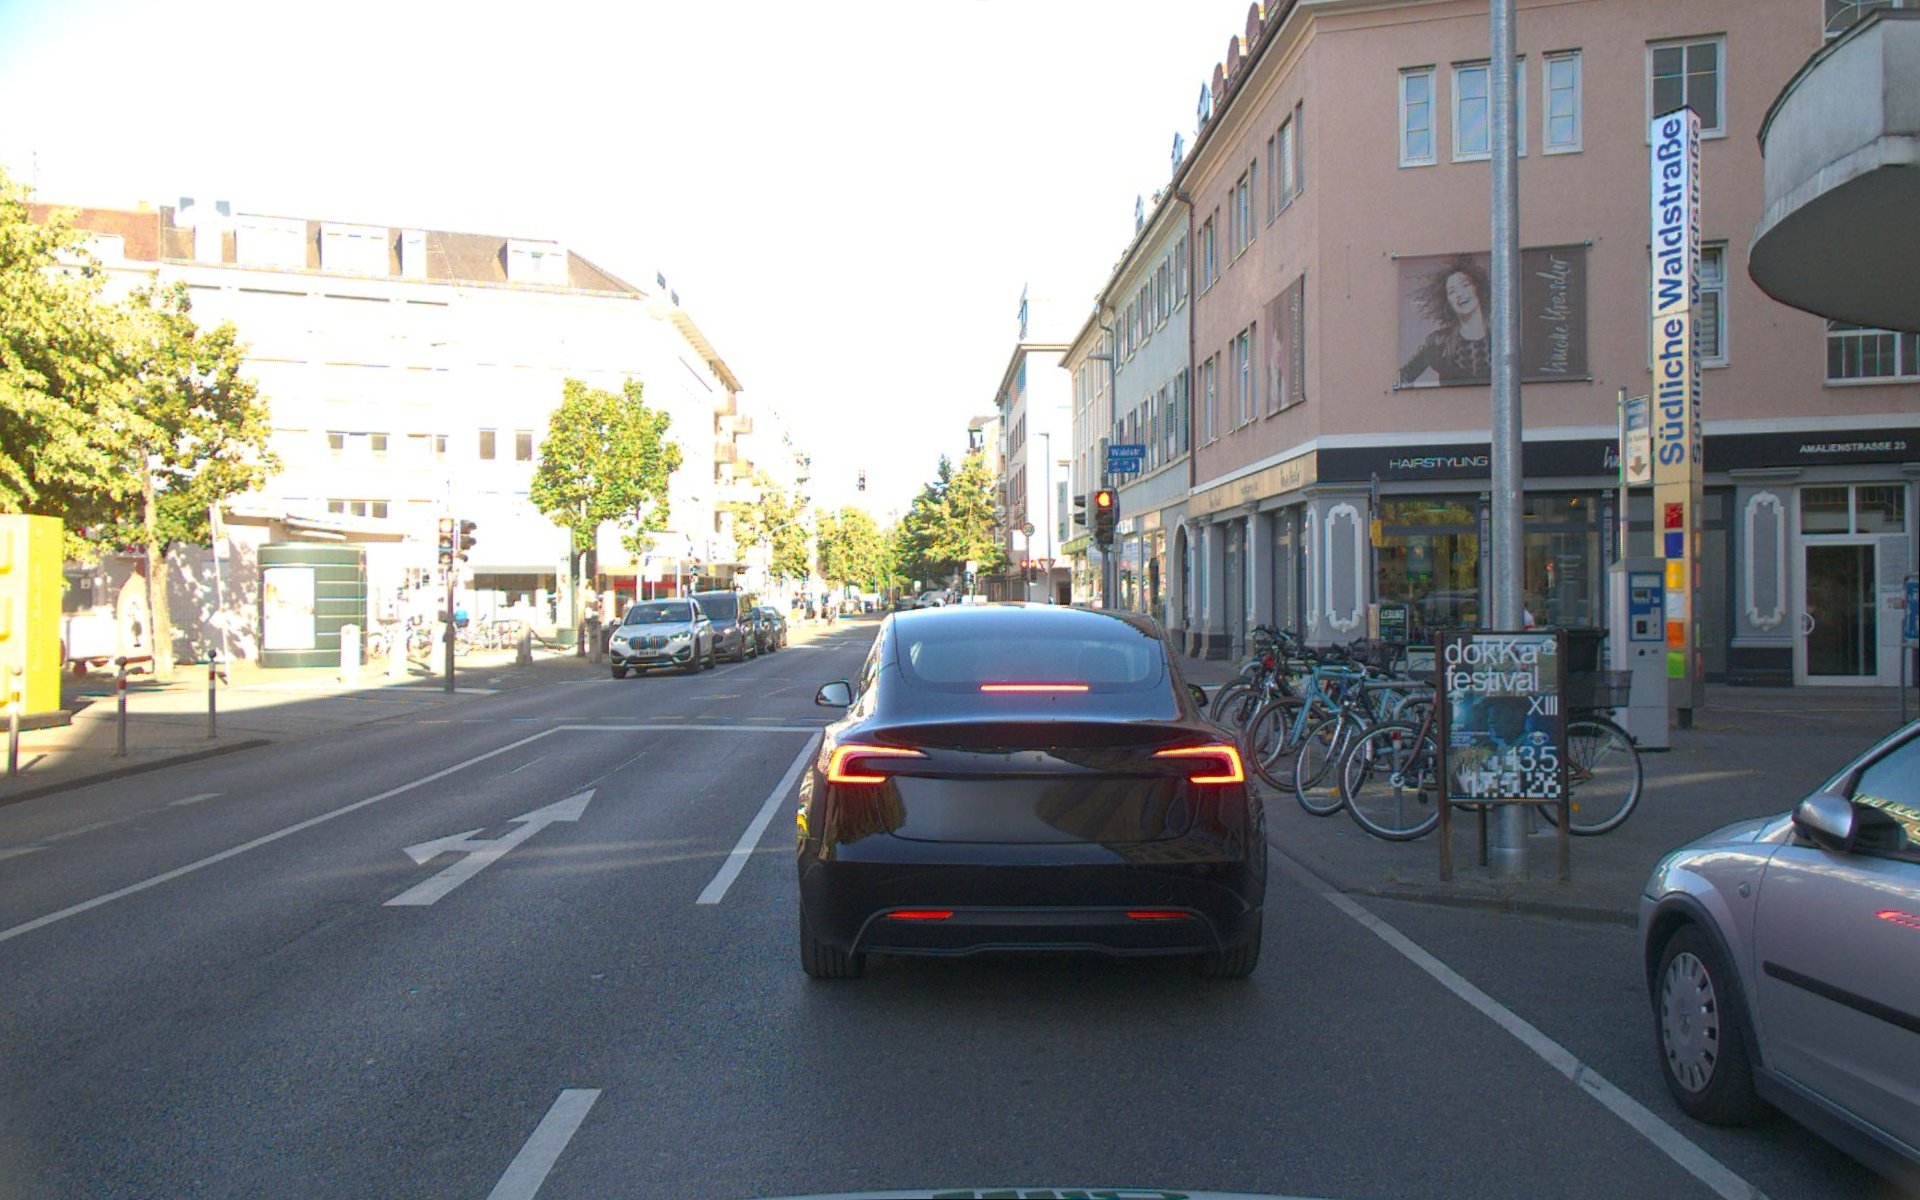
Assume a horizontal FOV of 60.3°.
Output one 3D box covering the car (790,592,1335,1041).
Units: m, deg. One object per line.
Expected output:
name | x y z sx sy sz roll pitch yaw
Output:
car | 0.315 0.721 7.491 1.810 1.480 3.999 0 0 -1

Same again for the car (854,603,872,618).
car | -10.982 1.204 186.887 1.954 1.666 3.997 0 0 -4

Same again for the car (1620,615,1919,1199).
car | 2.932 0.775 3.512 1.580 1.406 3.642 1 0 0

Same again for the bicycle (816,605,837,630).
bicycle | -7.697 0.993 95.396 1.089 1.368 3.997 0 0 -4

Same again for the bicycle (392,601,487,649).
bicycle | -14.711 0.693 46.806 2.429 1.347 0.921 0 0 -6

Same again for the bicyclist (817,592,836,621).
bicyclist | -7.713 0.366 95.489 1.104 1.657 0.964 0 0 -4

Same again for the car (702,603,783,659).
car | -6.421 0.880 49.319 1.954 1.434 4.671 -4 0 -3

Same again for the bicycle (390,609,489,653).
bicycle | -14.103 0.838 44.883 2.412 1.176 0.842 0 0 -2

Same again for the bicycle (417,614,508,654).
bicycle | -14.889 1.010 49.560 2.485 1.176 0.841 0 0 -6

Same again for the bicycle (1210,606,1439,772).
bicycle | 2.988 0.718 13.680 1.709 1.289 0.781 -2 0 2

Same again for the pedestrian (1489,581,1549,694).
pedestrian | 7.982 0.518 23.620 0.732 1.579 0.698 0 0 26

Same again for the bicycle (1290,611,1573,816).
bicycle | 3.140 0.746 11.152 1.686 1.290 0.791 -2 0 5

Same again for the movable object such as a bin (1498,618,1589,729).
movable object such as a bin | 6.024 0.747 17.096 0.718 1.111 0.627 1 0 1

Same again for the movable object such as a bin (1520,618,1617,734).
movable object such as a bin | 6.045 0.745 16.459 0.737 1.111 0.627 1 0 1

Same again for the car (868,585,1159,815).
car | 0.288 0.664 13.200 1.953 1.538 4.173 0 0 -2

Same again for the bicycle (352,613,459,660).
bicycle | -14.189 0.919 42.349 2.455 1.176 0.842 0 0 -2

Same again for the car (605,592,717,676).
car | -6.378 0.687 35.730 1.771 1.582 4.307 -4 0 -3

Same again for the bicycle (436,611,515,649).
bicycle | -15.213 0.937 51.983 2.279 1.176 0.841 0 0 -6

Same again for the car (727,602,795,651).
car | -6.803 0.867 56.904 1.954 1.461 4.671 -4 0 -3

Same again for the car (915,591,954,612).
car | -2.568 0.151 167.511 3.907 2.049 1.999 0 0 -2

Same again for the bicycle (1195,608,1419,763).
bicycle | 3.053 0.745 14.711 1.822 1.280 0.833 -2 0 5

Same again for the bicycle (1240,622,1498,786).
bicycle | 3.057 0.768 12.502 1.760 1.144 0.782 -2 0 5

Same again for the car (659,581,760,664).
car | -6.367 0.533 42.497 1.797 1.877 4.674 -4 0 0

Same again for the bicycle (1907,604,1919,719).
bicycle | 10.355 0.655 16.979 0.645 1.220 2.212 0 0 18

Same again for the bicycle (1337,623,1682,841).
bicycle | 3.286 0.780 10.022 1.846 1.214 0.692 -2 1 5

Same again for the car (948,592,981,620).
car | 0.260 0.337 100.724 1.953 1.657 3.999 0 0 -1
